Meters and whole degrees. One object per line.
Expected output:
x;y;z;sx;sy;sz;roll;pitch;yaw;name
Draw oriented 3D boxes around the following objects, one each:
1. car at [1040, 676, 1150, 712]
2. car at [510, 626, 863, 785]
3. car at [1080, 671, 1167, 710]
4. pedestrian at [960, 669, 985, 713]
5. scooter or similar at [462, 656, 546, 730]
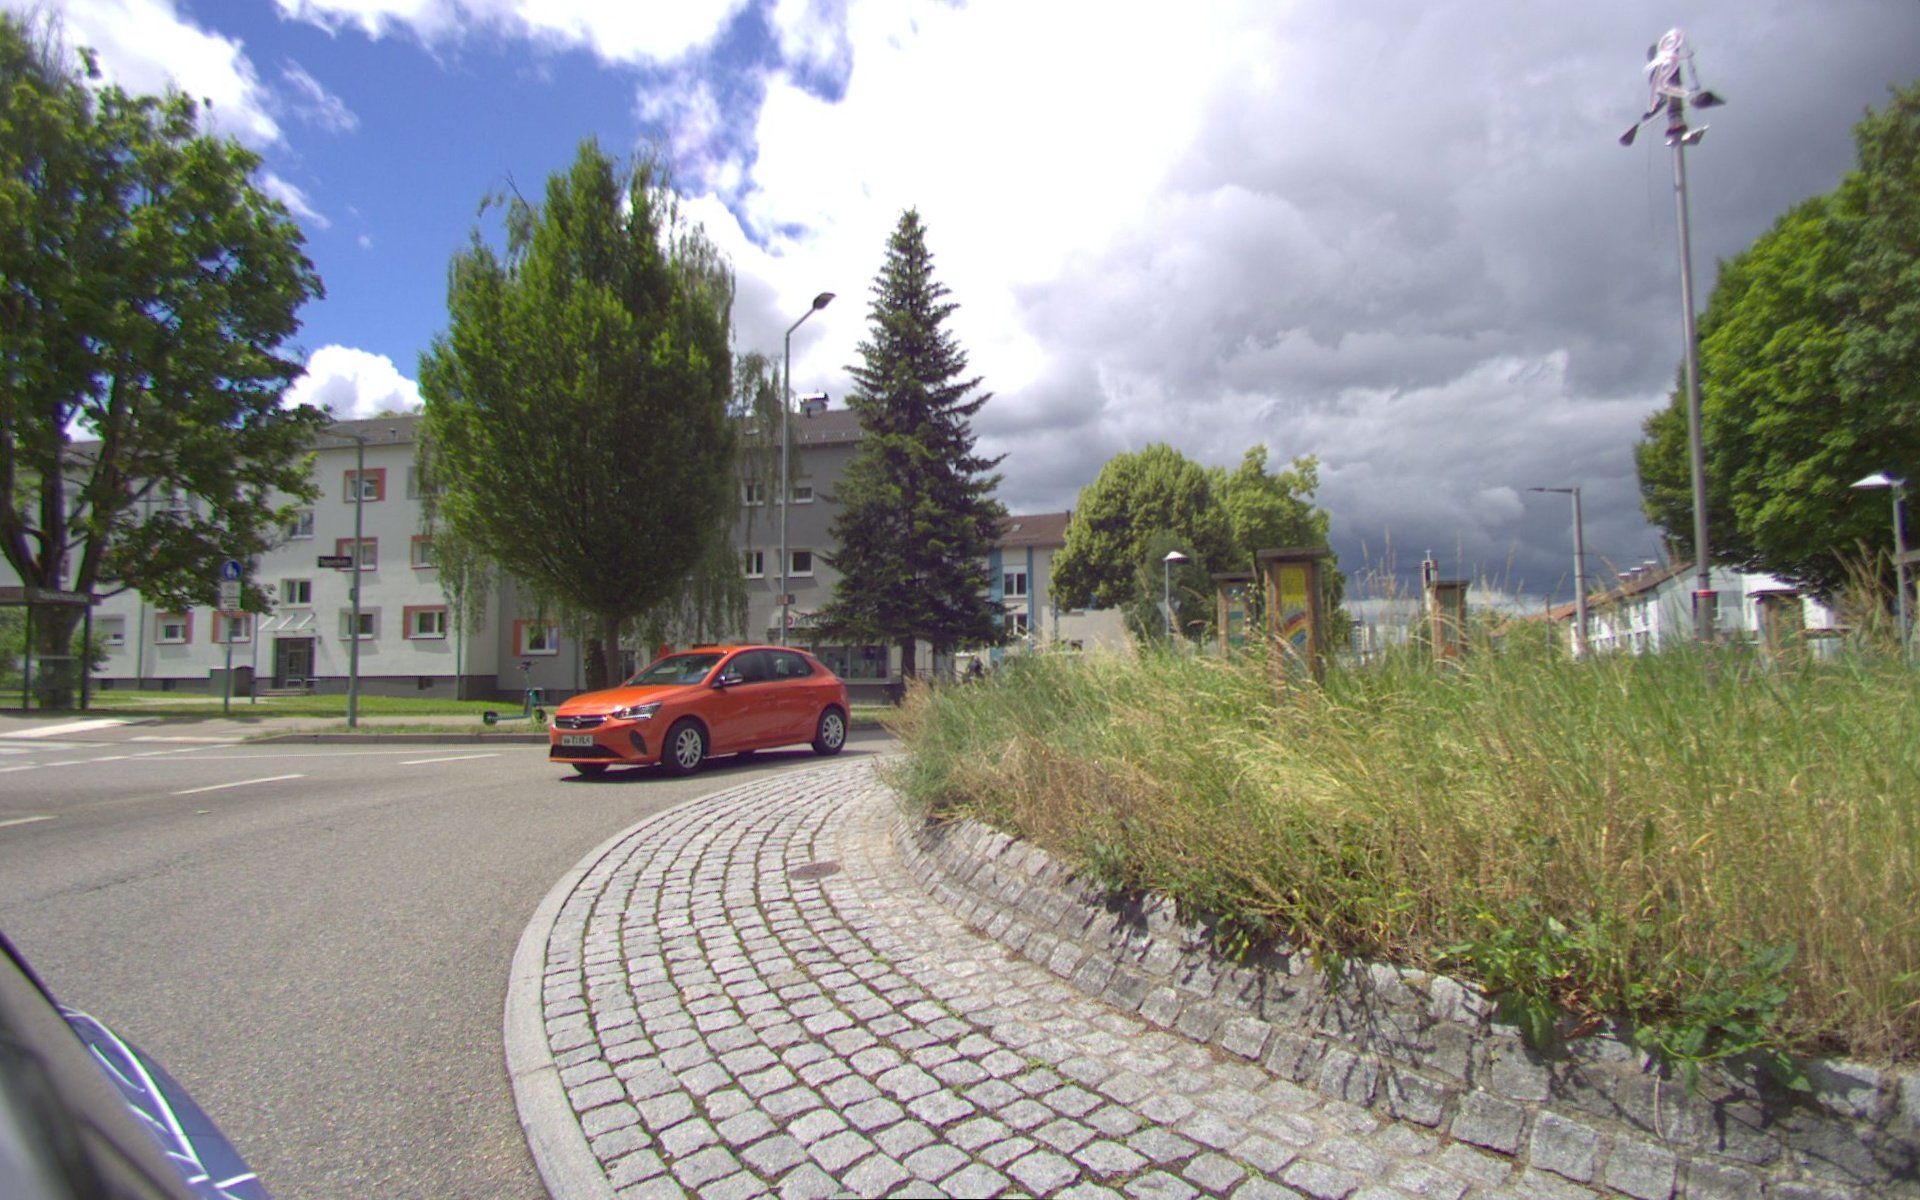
5.762;3.960;42.868;4.453;1.253;1.991;2;-4;13;car
-3.091;1.236;12.212;1.762;1.570;3.954;-5;-6;33;car
7.422;4.074;45.776;3.706;1.569;2.022;1;-4;15;car
0.443;3.263;36.177;0.737;1.541;0.688;-1;-5;15;pedestrian
-8.633;1.763;19.182;1.364;1.353;0.487;4;-5;-27;scooter or similar
